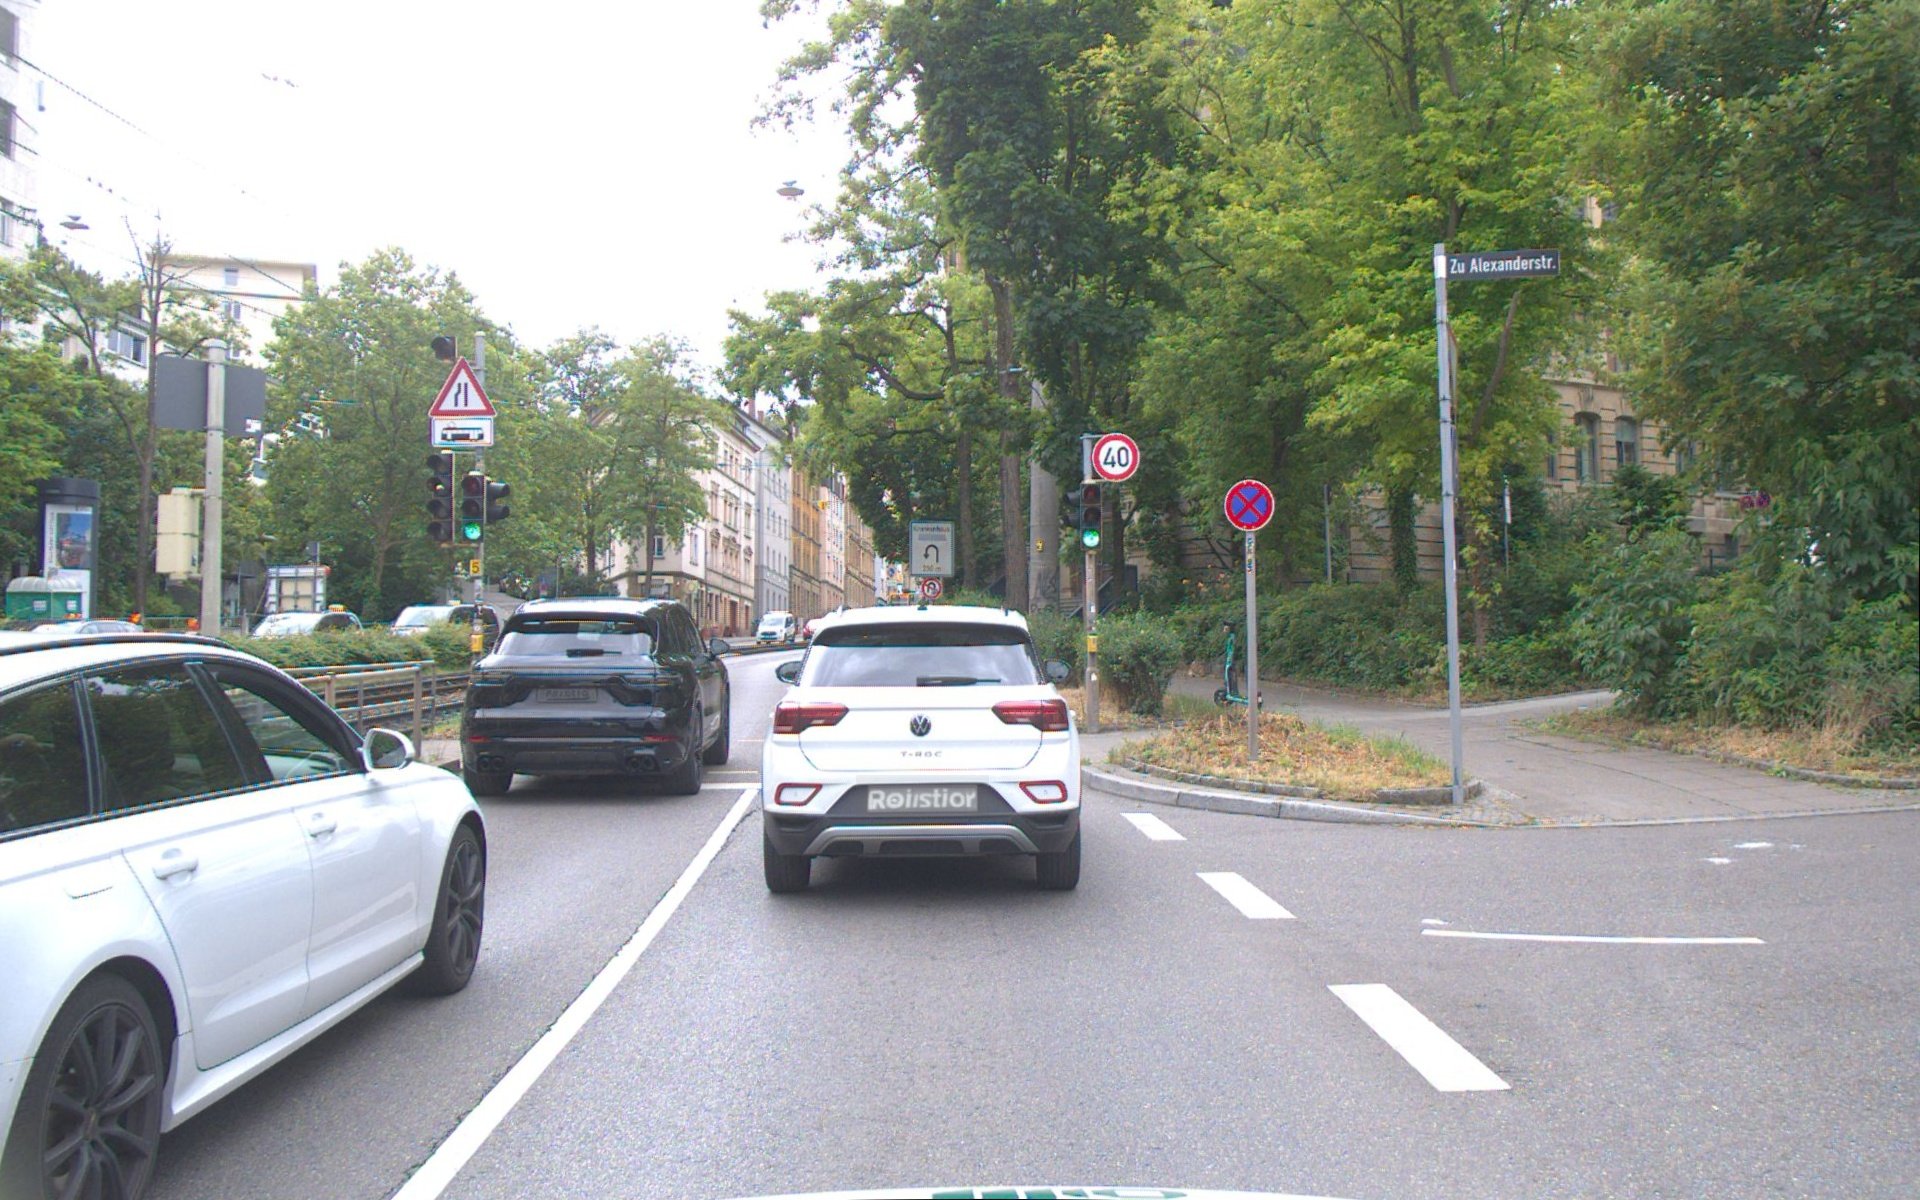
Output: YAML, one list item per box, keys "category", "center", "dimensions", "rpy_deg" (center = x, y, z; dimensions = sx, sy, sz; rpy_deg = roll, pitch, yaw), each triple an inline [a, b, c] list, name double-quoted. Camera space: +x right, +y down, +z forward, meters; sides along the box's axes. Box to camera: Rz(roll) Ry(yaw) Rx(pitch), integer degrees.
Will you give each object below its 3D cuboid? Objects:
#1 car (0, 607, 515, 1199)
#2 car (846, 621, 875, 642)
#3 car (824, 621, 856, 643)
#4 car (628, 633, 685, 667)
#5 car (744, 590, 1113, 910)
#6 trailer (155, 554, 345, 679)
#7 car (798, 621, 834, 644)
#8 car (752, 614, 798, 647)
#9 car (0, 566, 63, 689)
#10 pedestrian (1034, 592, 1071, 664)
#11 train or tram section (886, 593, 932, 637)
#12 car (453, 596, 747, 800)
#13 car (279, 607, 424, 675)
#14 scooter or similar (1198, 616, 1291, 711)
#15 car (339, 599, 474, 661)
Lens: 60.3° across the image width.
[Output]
- category: "car"
  center: [-2.824, 0.785, 4.880]
  dimensions: [1.841, 1.480, 4.616]
  rpy_deg: [-1, -1, -1]
- category: "car"
  center: [-8.096, 2.558, 135.054]
  dimensions: [1.952, 1.579, 4.001]
  rpy_deg: [-1, -1, 3]
- category: "car"
  center: [-9.006, 2.413, 124.322]
  dimensions: [1.952, 1.579, 4.001]
  rpy_deg: [-1, -1, 3]
- category: "car"
  center: [-13.763, 2.232, 75.195]
  dimensions: [1.729, 1.432, 4.083]
  rpy_deg: [-1, -1, 2]
- category: "car"
  center: [-0.190, 0.776, 10.308]
  dimensions: [1.841, 1.582, 3.999]
  rpy_deg: [-1, -1, -1]
- category: "trailer"
  center: [-18.431, 0.432, 43.273]
  dimensions: [1.976, 3.025, 5.593]
  rpy_deg: [1, -1, 6]
- category: "car"
  center: [-10.105, 2.279, 116.448]
  dimensions: [1.952, 1.579, 4.001]
  rpy_deg: [-1, -1, 3]
- category: "car"
  center: [-11.317, 1.842, 101.700]
  dimensions: [1.906, 1.980, 5.005]
  rpy_deg: [0, 0, 4]
- category: "car"
  center: [-21.665, 0.599, 34.586]
  dimensions: [2.112, 2.639, 6.338]
  rpy_deg: [-1, -1, 3]
- category: "pedestrian"
  center: [2.274, 0.689, 40.894]
  dimensions: [0.757, 1.733, 0.784]
  rpy_deg: [-1, -1, -8]
- category: "train or tram section"
  center: [-4.507, 1.400, 149.550]
  dimensions: [2.822, 3.791, 14.861]
  rpy_deg: [1, -1, 4]
- category: "car"
  center: [-3.146, 0.807, 15.361]
  dimensions: [1.997, 1.599, 4.355]
  rpy_deg: [0, -1, -3]
- category: "car"
  center: [-15.740, 1.037, 43.054]
  dimensions: [1.952, 1.633, 4.620]
  rpy_deg: [-1, -1, 2]
- category: "scooter or similar"
  center: [3.877, 0.852, 22.634]
  dimensions: [0.620, 1.231, 1.550]
  rpy_deg: [-1, -1, -16]
- category: "car"
  center: [-15.488, 0.830, 46.558]
  dimensions: [1.951, 1.633, 4.612]
  rpy_deg: [-1, -1, 4]
